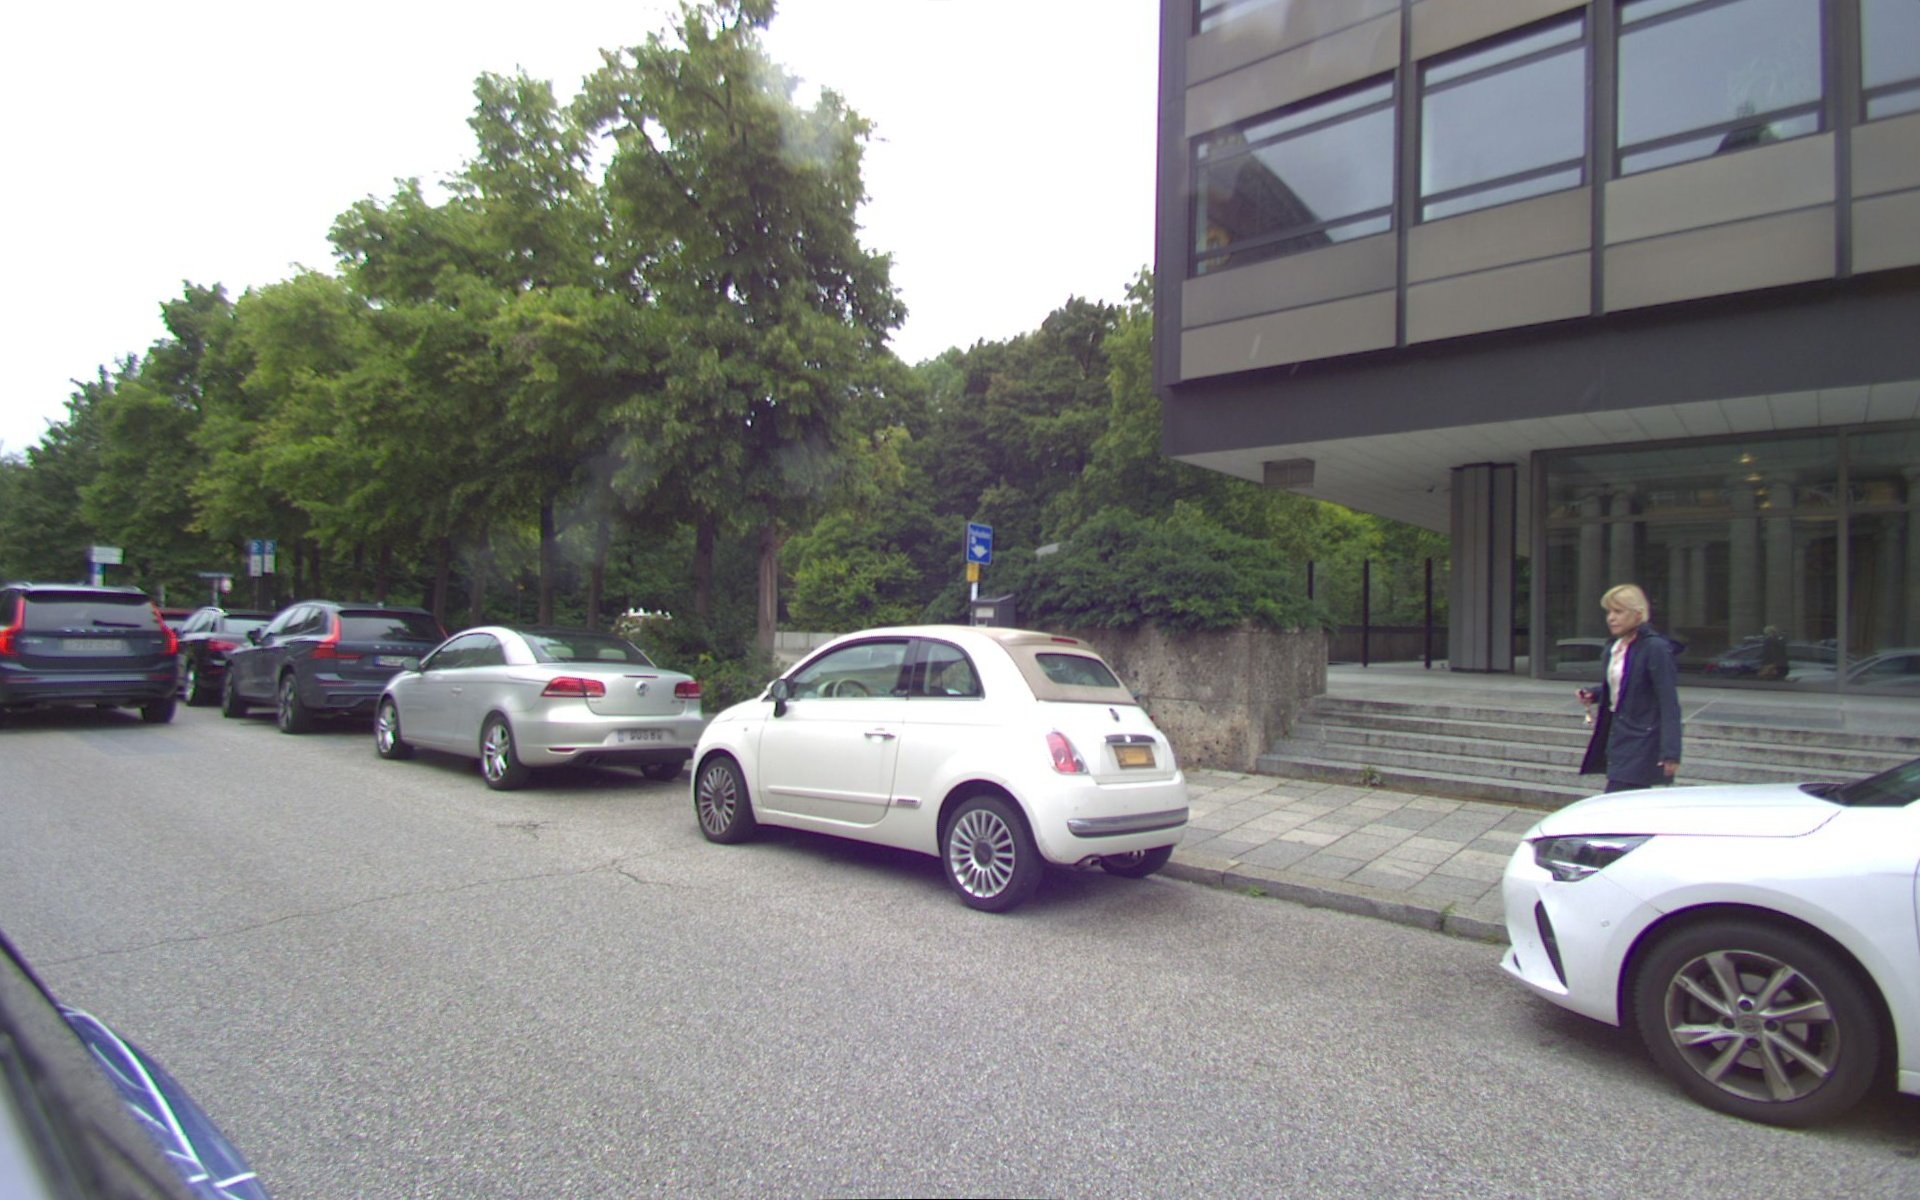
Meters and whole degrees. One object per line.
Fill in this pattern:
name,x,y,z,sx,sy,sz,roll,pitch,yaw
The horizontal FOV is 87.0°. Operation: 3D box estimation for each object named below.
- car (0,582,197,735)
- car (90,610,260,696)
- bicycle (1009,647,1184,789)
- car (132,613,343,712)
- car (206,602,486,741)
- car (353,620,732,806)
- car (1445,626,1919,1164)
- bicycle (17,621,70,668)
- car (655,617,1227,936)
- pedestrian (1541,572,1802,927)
car,-11.999,0.705,13.389,4.908,1.694,1.940,0,-4,40
car,-16.033,1.022,20.589,4.363,1.555,1.972,-1,-3,42
bicycle,1.260,1.058,9.531,1.526,1.173,0.636,-1,0,40
car,-12.454,0.992,17.327,4.646,1.472,1.972,-1,-3,42
car,-8.518,0.891,13.872,4.520,1.595,1.973,-1,-3,41
car,-4.221,0.972,9.890,4.217,1.411,1.739,-1,-5,43
car,3.874,0.870,2.800,4.278,1.451,1.663,0,-5,42
bicycle,-26.555,1.269,29.345,0.566,1.292,1.423,0,-1,-16
car,-0.281,0.888,6.507,3.551,1.482,1.527,-1,-4,41
pedestrian,3.749,0.740,5.402,0.881,1.765,0.690,0,1,2
